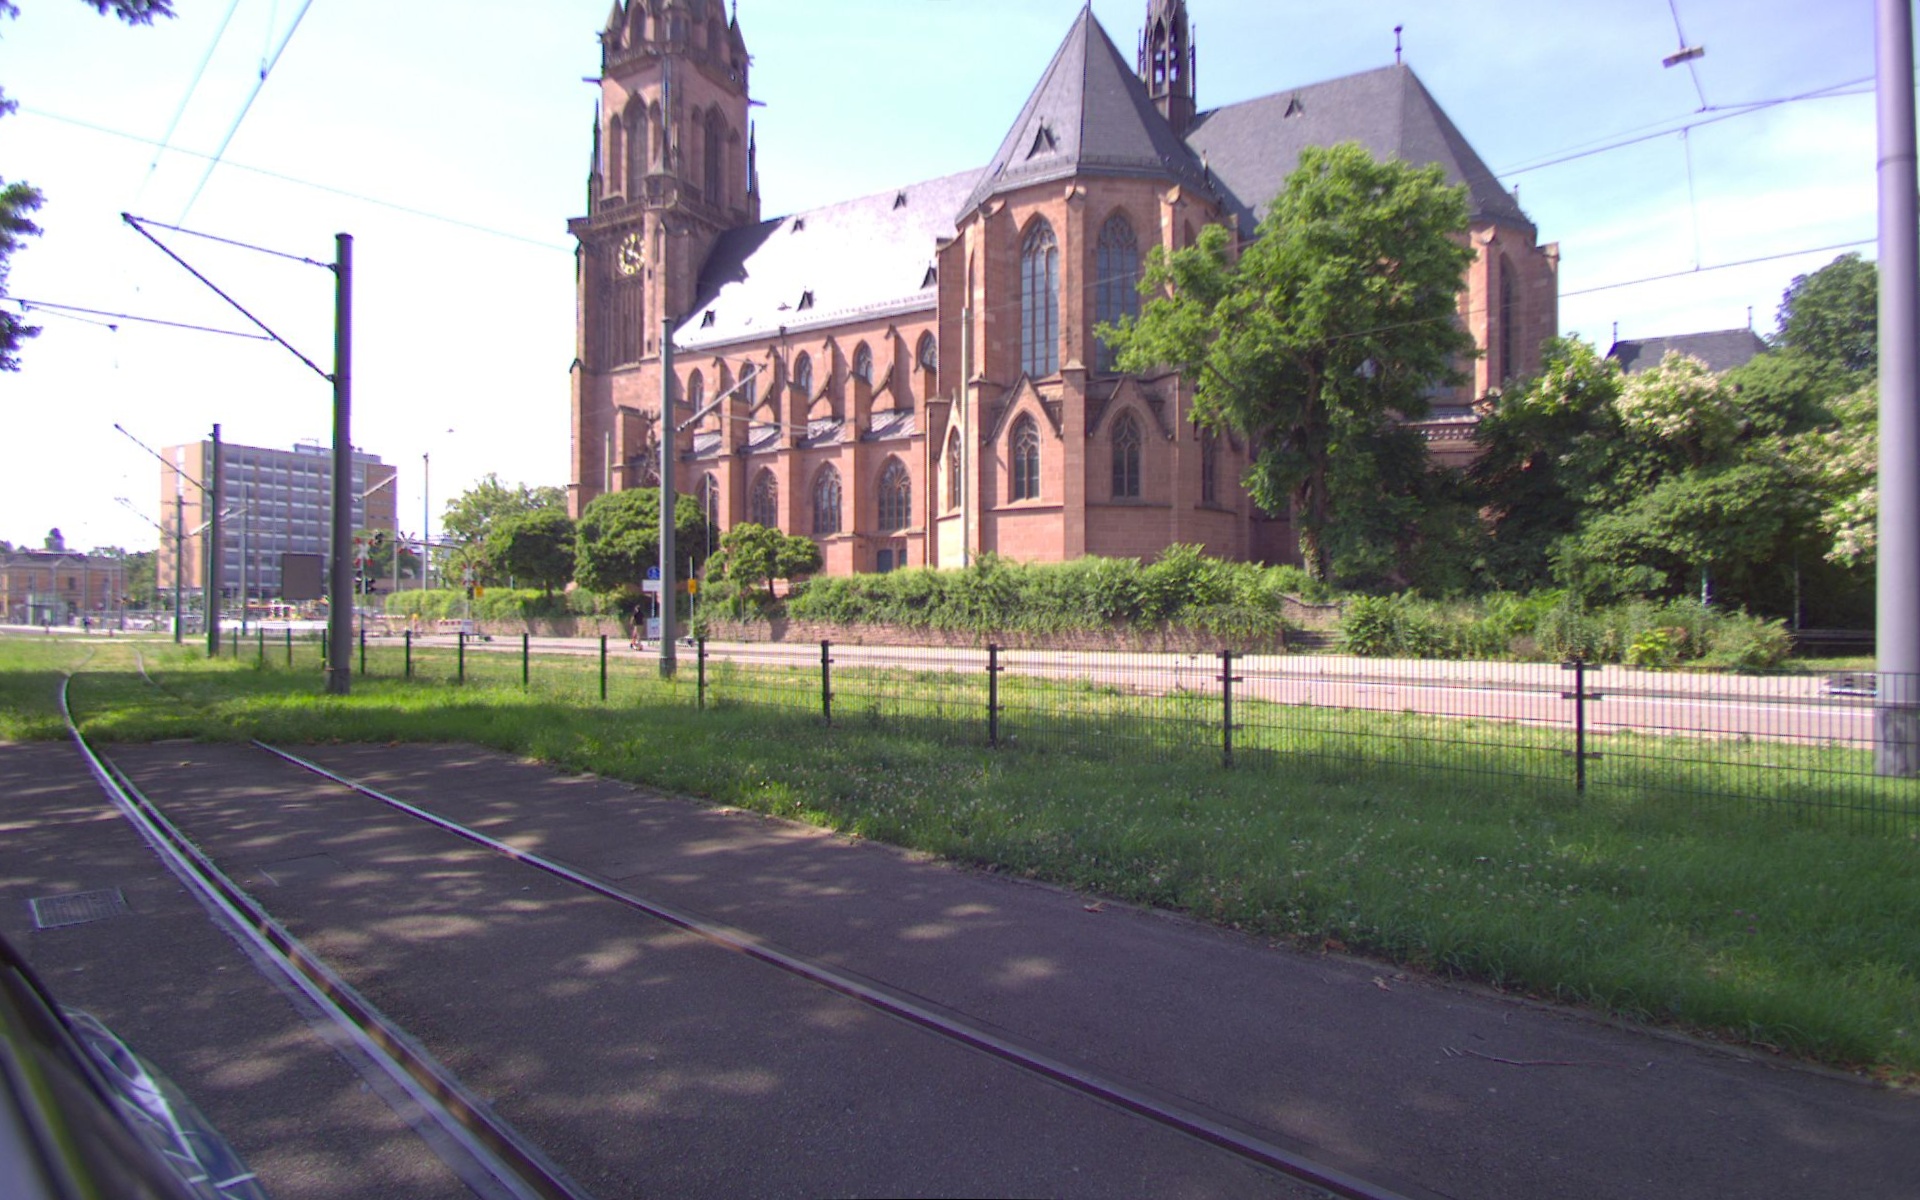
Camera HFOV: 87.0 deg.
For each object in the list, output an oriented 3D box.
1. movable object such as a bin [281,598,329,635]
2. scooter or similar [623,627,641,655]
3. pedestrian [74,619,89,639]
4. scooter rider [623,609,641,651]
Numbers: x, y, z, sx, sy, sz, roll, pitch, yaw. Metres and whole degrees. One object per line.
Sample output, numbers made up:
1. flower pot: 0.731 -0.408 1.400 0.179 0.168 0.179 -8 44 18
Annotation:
1. movable object such as a bin: -70.913 1.823 109.585 2.905 3.911 3.327 0 -1 8
2. scooter or similar: -14.550 1.796 44.889 0.646 1.213 1.274 0 -1 -12
3. pedestrian: -72.964 2.397 84.086 0.758 1.666 0.849 -1 -2 41
4. scooter rider: -14.543 1.328 44.866 0.653 1.881 0.670 0 -1 -11
